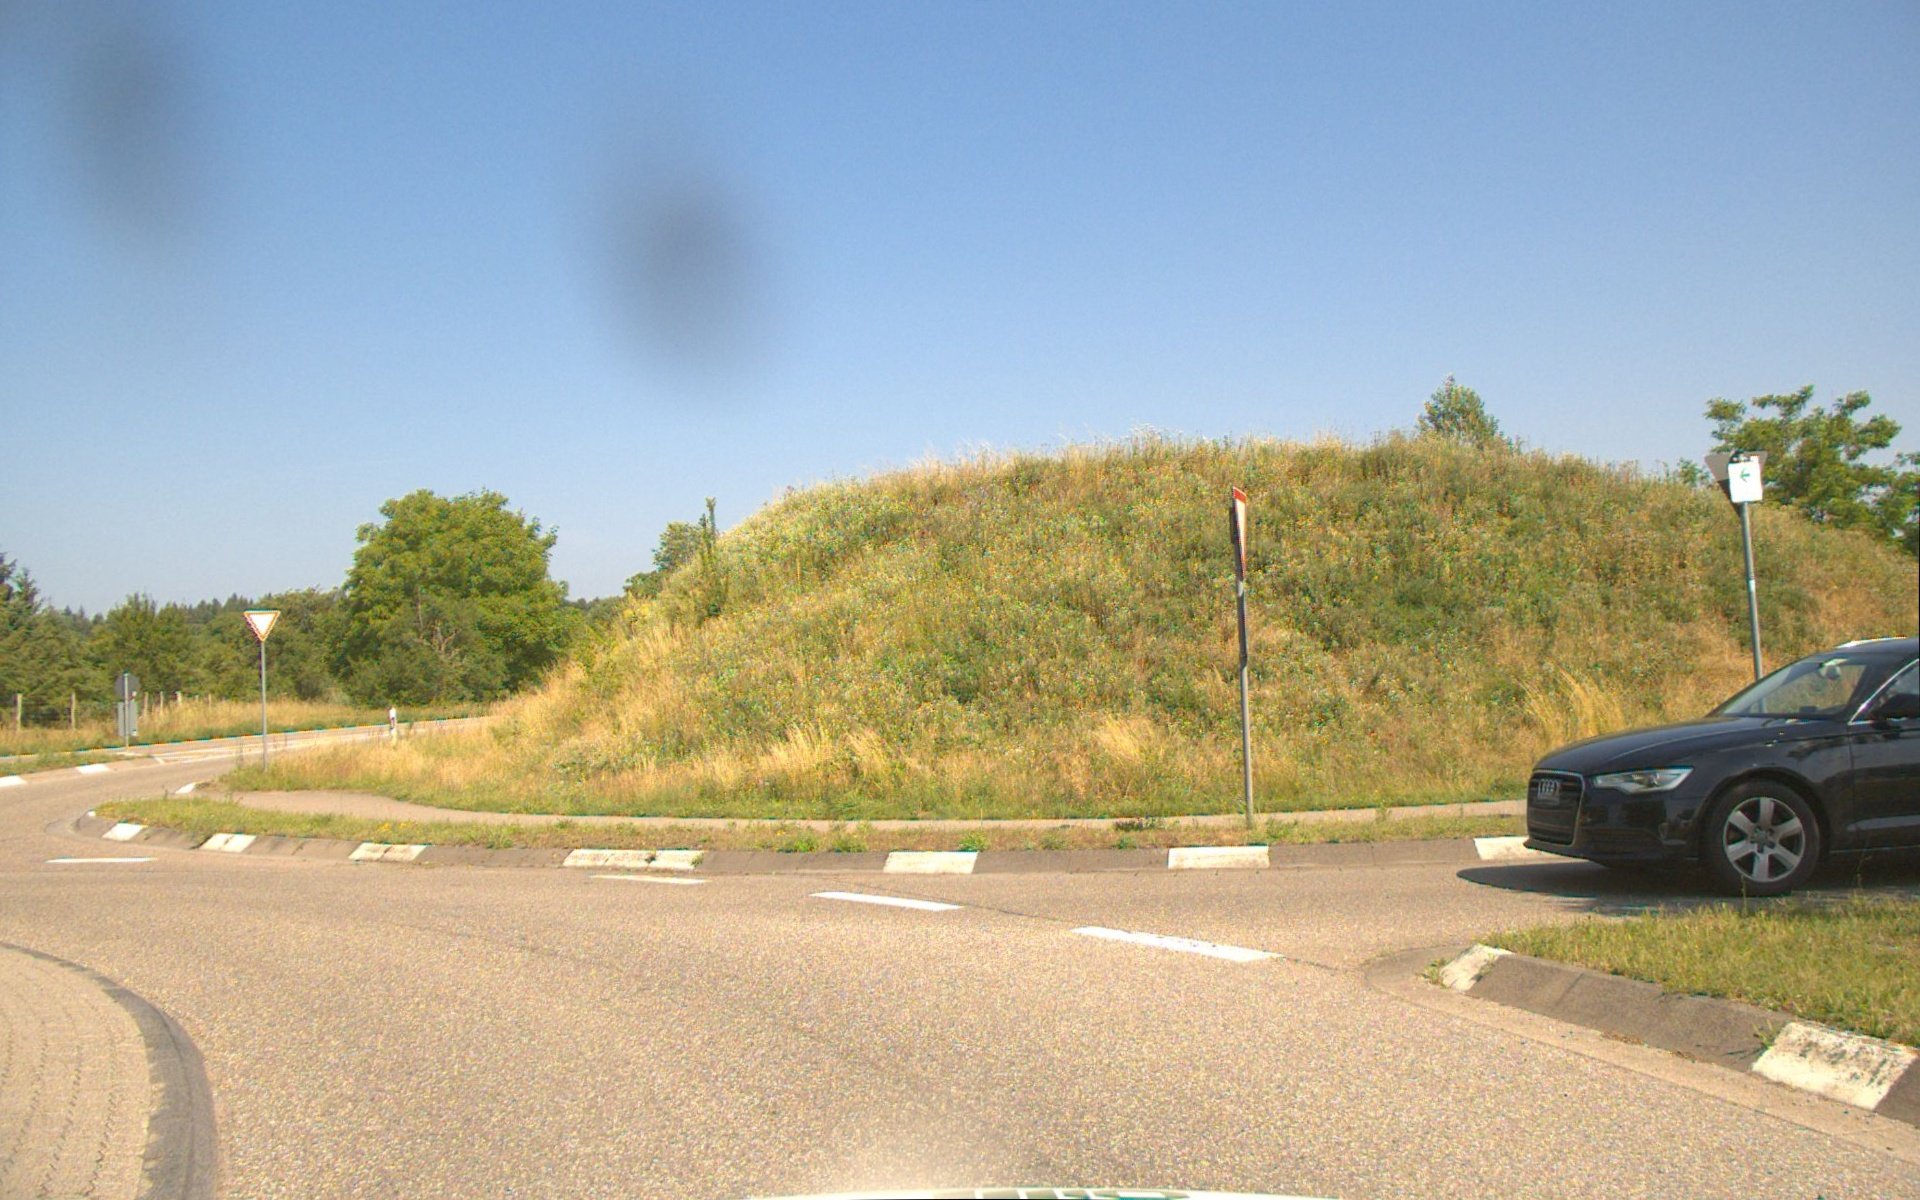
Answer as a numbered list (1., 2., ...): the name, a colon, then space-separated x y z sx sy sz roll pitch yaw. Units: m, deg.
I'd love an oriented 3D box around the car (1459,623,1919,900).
1. car: 5.873 0.915 10.424 4.802 1.459 1.921 -2 -4 -6
